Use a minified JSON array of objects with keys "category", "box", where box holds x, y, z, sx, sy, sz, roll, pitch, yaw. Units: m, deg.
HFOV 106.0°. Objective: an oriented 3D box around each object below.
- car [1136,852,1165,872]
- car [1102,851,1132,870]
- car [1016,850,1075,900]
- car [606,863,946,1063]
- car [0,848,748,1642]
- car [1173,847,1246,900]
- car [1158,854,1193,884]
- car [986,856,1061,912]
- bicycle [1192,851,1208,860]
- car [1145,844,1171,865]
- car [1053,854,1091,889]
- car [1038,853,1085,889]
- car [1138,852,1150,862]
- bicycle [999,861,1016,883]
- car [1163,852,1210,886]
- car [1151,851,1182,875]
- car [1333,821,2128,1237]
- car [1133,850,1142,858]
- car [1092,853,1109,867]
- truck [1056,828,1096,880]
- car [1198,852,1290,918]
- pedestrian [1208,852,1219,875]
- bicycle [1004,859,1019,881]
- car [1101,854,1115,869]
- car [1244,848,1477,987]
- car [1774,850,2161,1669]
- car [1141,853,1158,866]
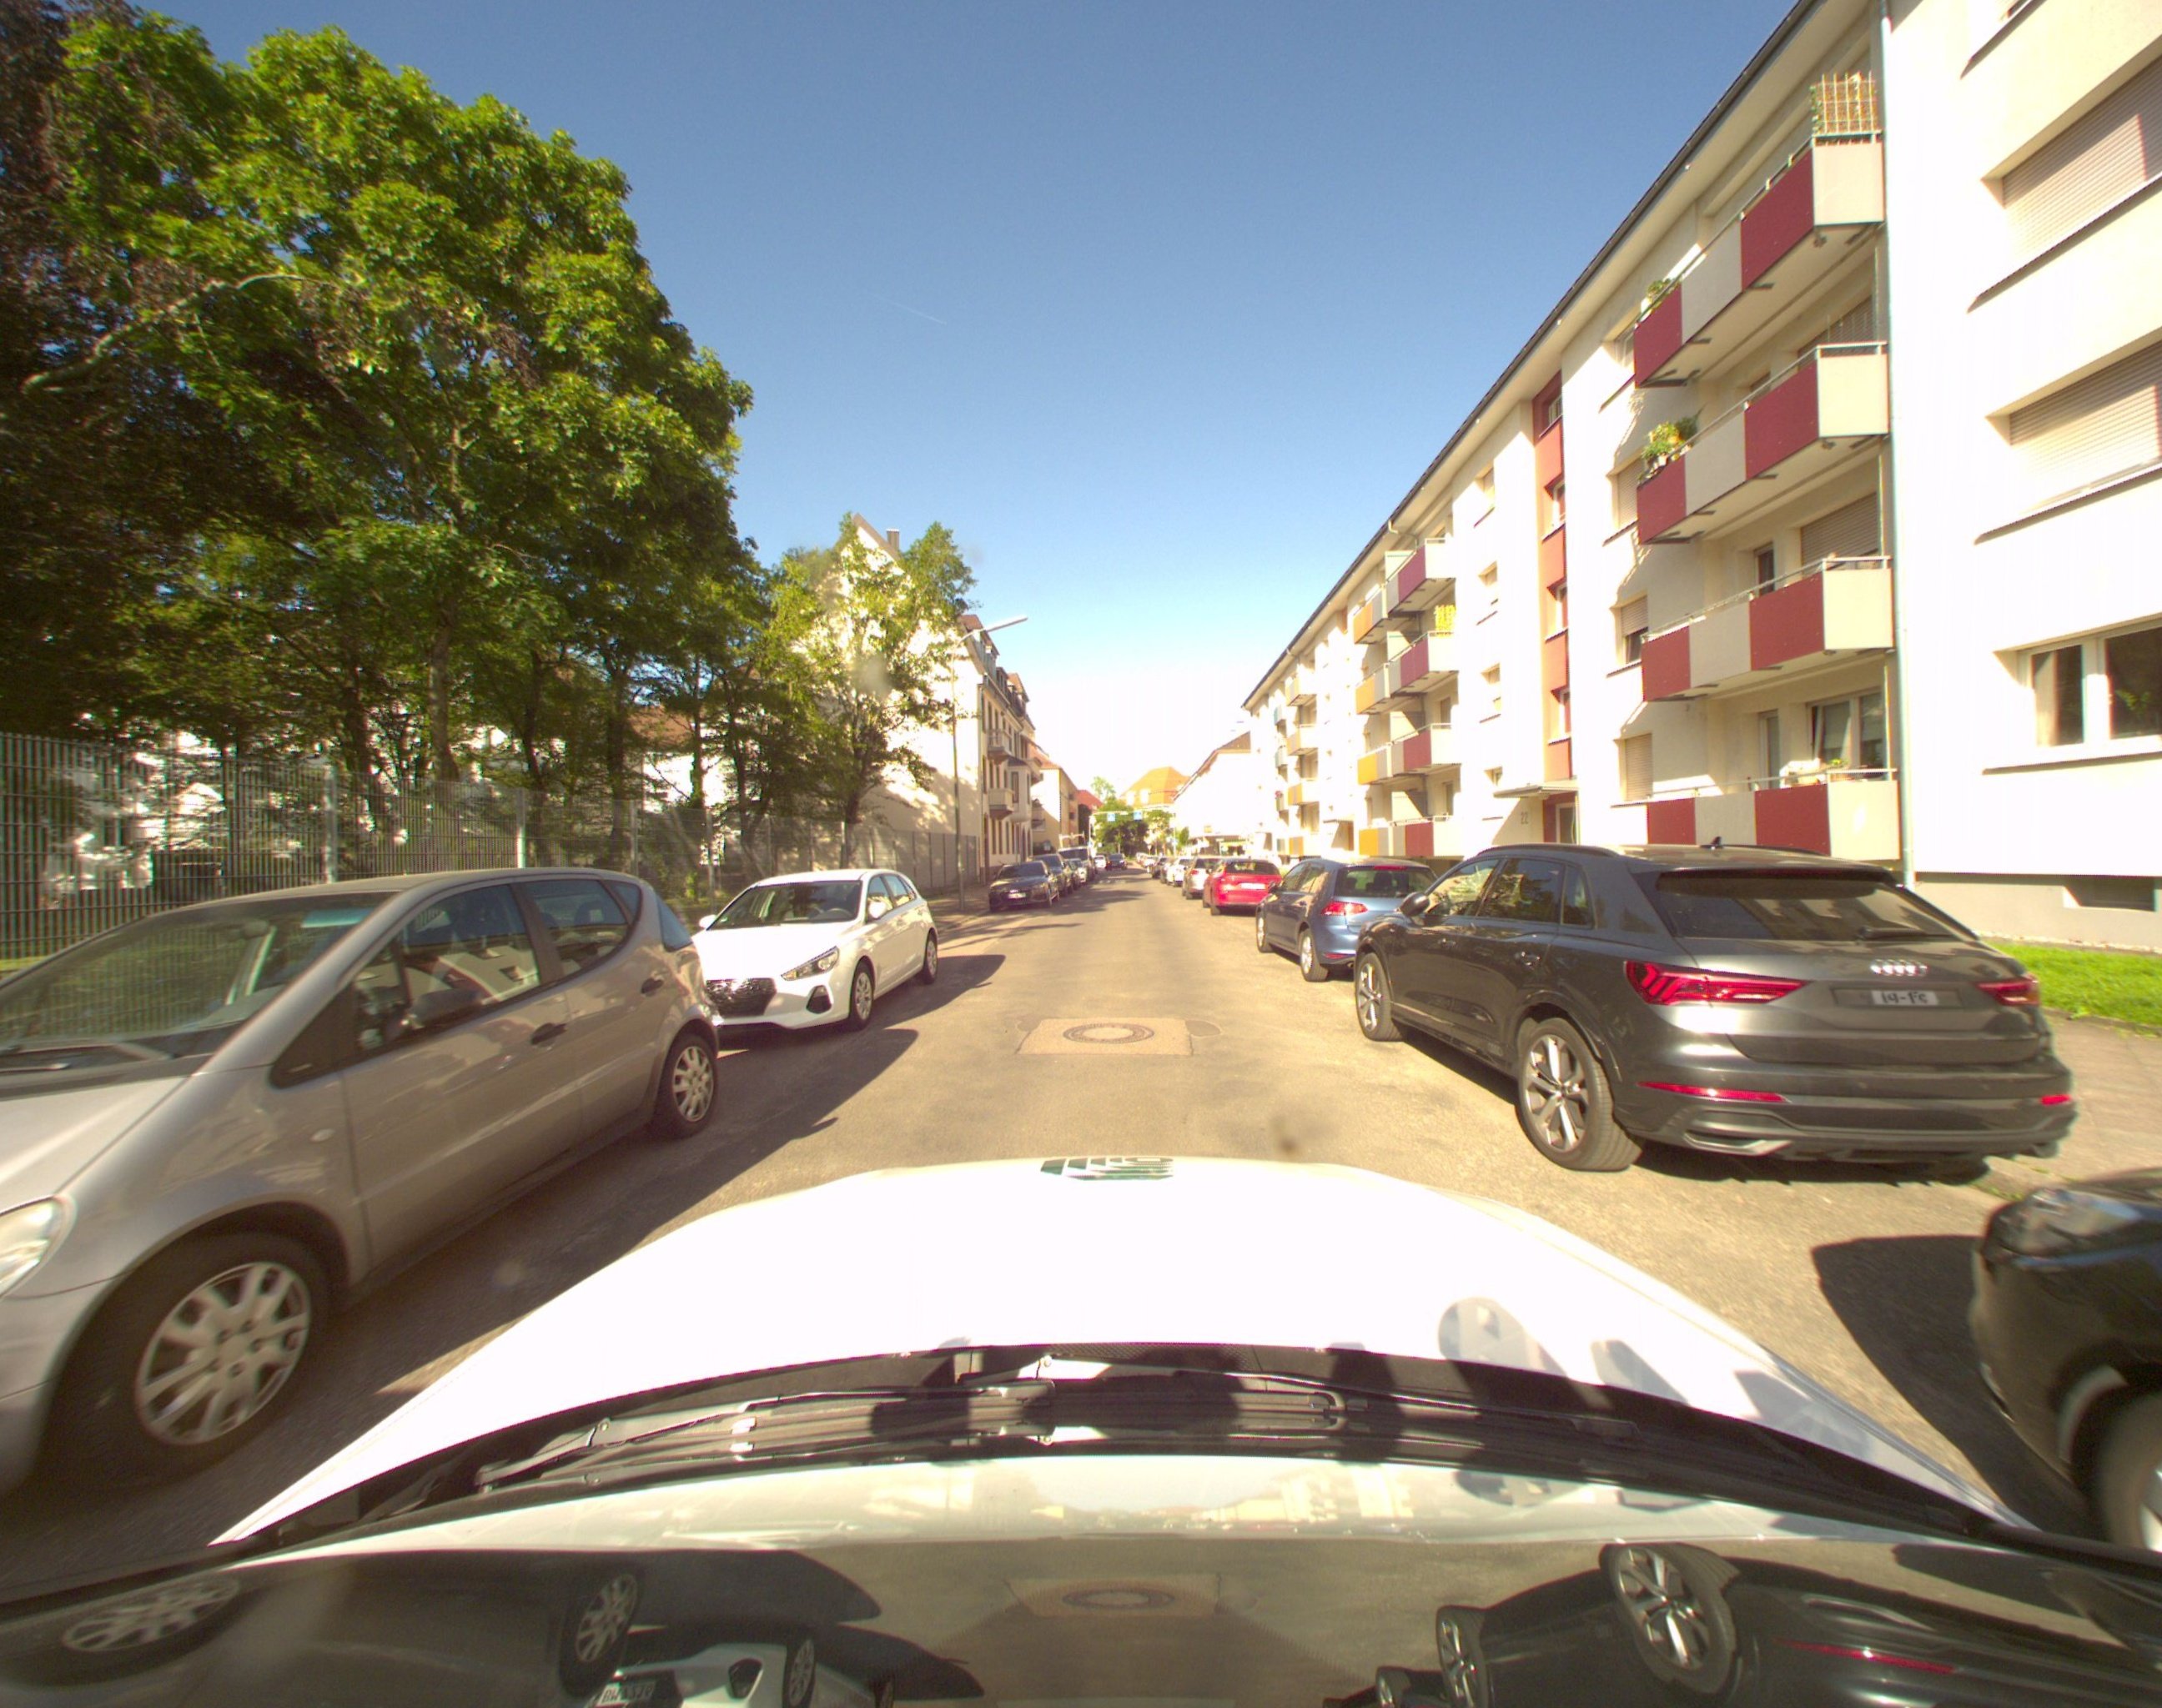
[{"category":"car","box":[5.499,0.644,65.227,1.848,1.523,4.775,-1,-1,-1]},{"category":"car","box":[3.464,0.604,77.709,1.807,1.633,4.276,-2,0,17]},{"category":"car","box":[-1.321,0.770,32.050,1.872,1.663,4.933,-4,0,1]},{"category":"car","box":[-2.784,0.892,8.572,1.787,1.445,4.122,-4,0,2]},{"category":"car","box":[-3.029,0.880,3.397,1.558,1.643,3.617,-5,0,1]},{"category":"car","box":[4.294,0.610,27.866,1.891,1.622,4.604,-1,0,2]},{"category":"car","box":[5.054,0.765,43.790,1.681,1.467,3.586,1,0,4]},{"category":"car","box":[-1.675,0.856,25.296,1.787,1.471,4.504,-4,0,2]},{"category":"bicycle","box":[13.952,0.150,95.584,1.805,0.967,0.672,-2,0,-8]},{"category":"car","box":[5.608,0.078,59.574,1.639,1.460,3.941,-1,-1,2]},{"category":"car","box":[-0.422,0.895,44.250,1.786,1.540,4.642,-7,1,1]},{"category":"car","box":[-0.854,0.769,37.922,1.784,1.563,4.464,-1,0,4]},{"category":"car","box":[9.505,0.445,123.736,1.631,1.440,3.421,-2,0,2]},{"category":"bicycle","box":[-4.367,1.051,48.349,0.626,1.203,2.342,-2,1,3]},{"category":"car","box":[5.031,0.709,39.287,1.680,1.463,3.819,4,0,0]},{"category":"car","box":[5.568,0.582,53.500,1.784,1.471,4.343,-2,0,4]},{"category":"car","box":[3.145,0.670,5.245,1.746,1.559,4.255,-1,0,1]},{"category":"car","box":[10.980,-0.008,158.233,1.631,1.440,3.421,-2,0,2]},{"category":"car","box":[2.348,0.647,96.845,1.784,1.480,4.102,-3,1,3]},{"category":"truck","box":[-0.223,0.004,51.340,2.251,2.986,7.277,-2,0,1]},{"category":"car","box":[4.020,0.702,20.734,1.744,1.444,4.528,-2,0,5]},{"category":"pedestrian","box":[8.395,0.601,51.567,0.572,1.433,0.472,-3,0,5]},{"category":"bicycle","box":[-4.366,1.018,51.278,0.567,1.279,2.342,-2,1,3]},{"category":"car","box":[3.621,0.979,108.280,1.690,1.779,4.102,-2,0,3]},{"category":"car","box":[3.466,0.696,10.941,1.746,1.481,4.080,-1,0,1]},{"category":"car","box":[2.737,0.735,0.406,1.599,1.484,3.799,-1,0,2]},{"category":"car","box":[7.698,0.631,92.227,1.837,1.440,3.422,-2,0,4]}]
